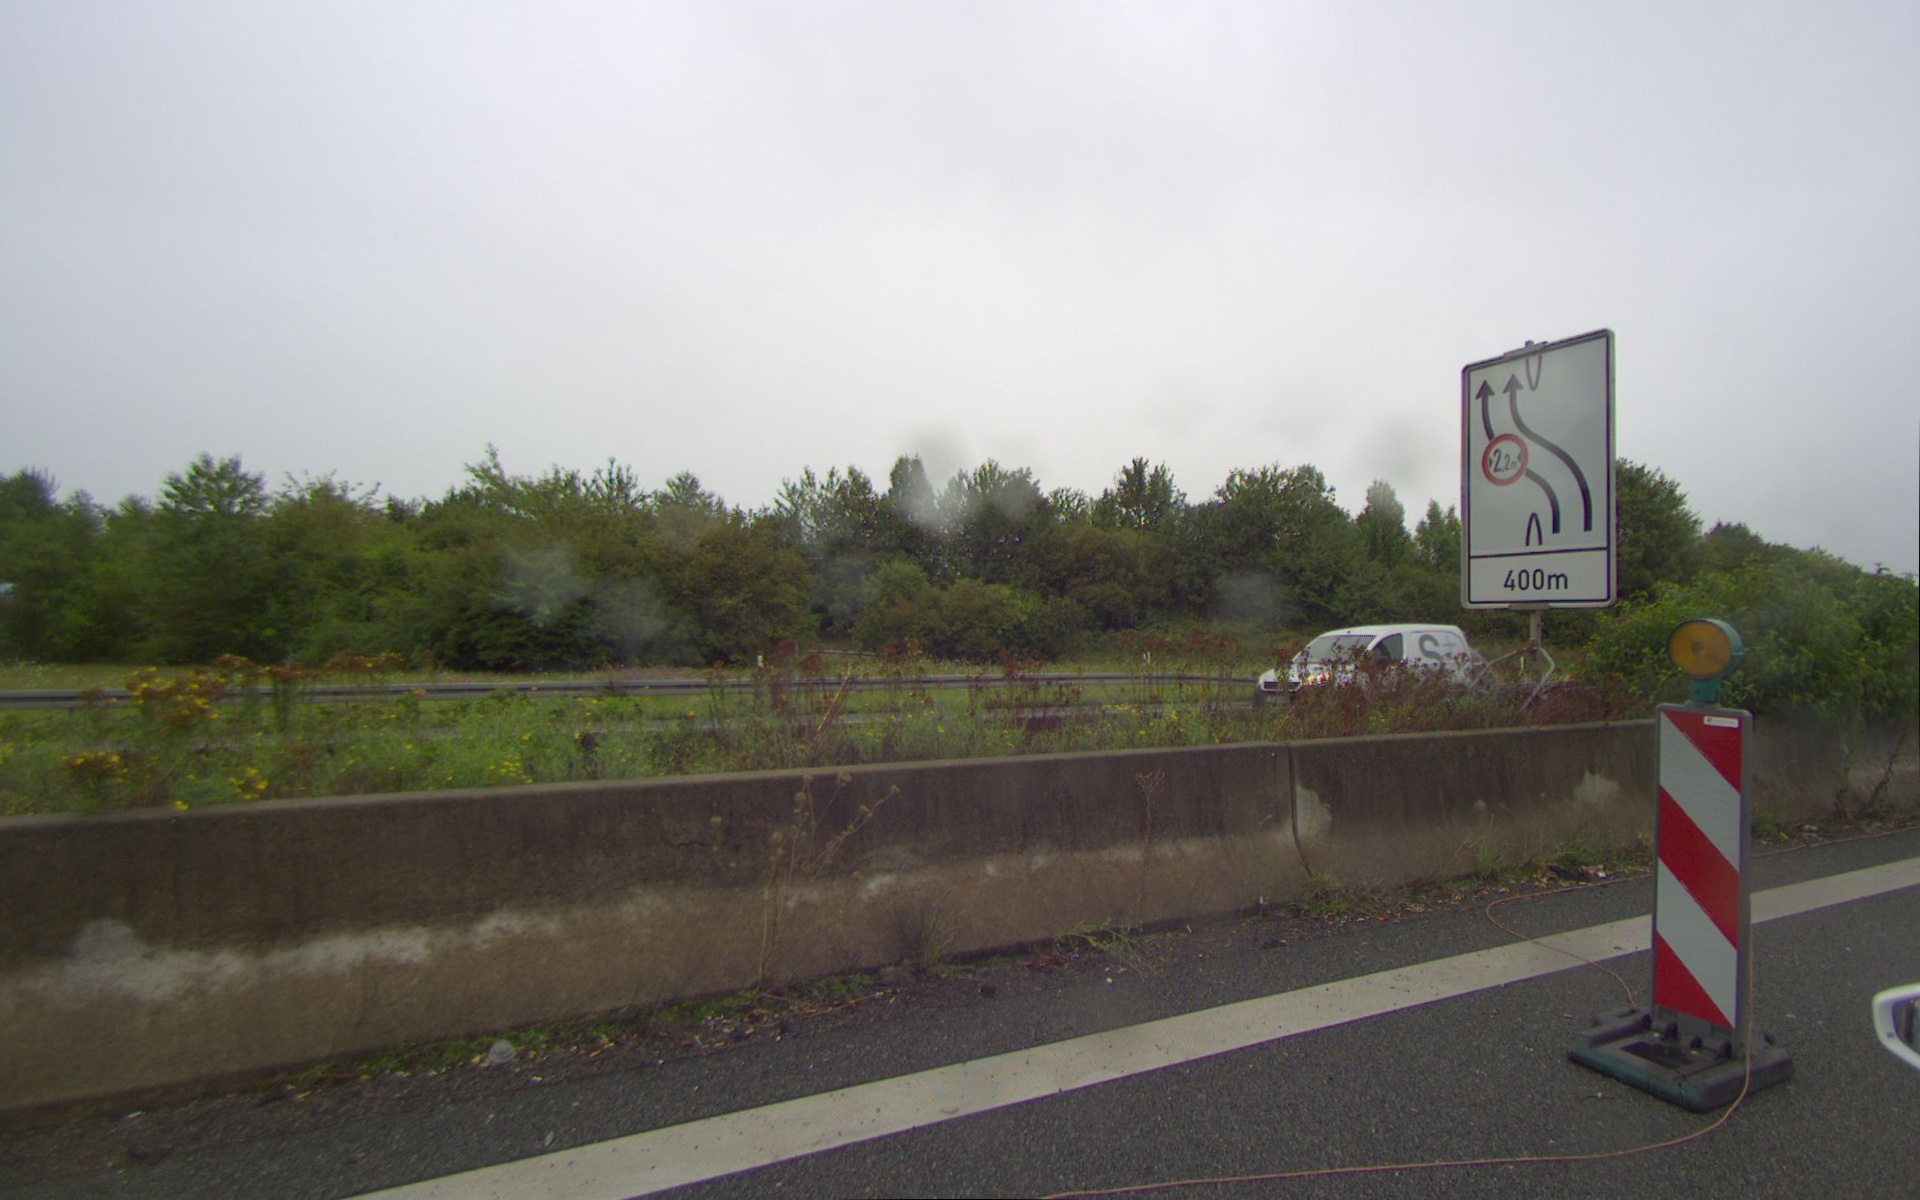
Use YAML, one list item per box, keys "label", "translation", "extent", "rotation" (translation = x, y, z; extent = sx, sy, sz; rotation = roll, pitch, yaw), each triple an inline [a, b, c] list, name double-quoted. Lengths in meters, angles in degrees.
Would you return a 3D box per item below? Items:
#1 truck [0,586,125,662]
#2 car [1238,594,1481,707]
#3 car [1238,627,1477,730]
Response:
- label: "truck"
  translation: [-49.838, 1.350, 54.355]
  extent: [2.859, 3.667, 14.505]
  rotation: [1, -2, -22]
- label: "car"
  translation: [7.193, 0.872, 18.056]
  extent: [3.952, 1.825, 1.985]
  rotation: [2, 0, -29]
- label: "car"
  translation: [7.126, 1.322, 17.967]
  extent: [3.949, 1.671, 1.861]
  rotation: [1, -2, -28]
